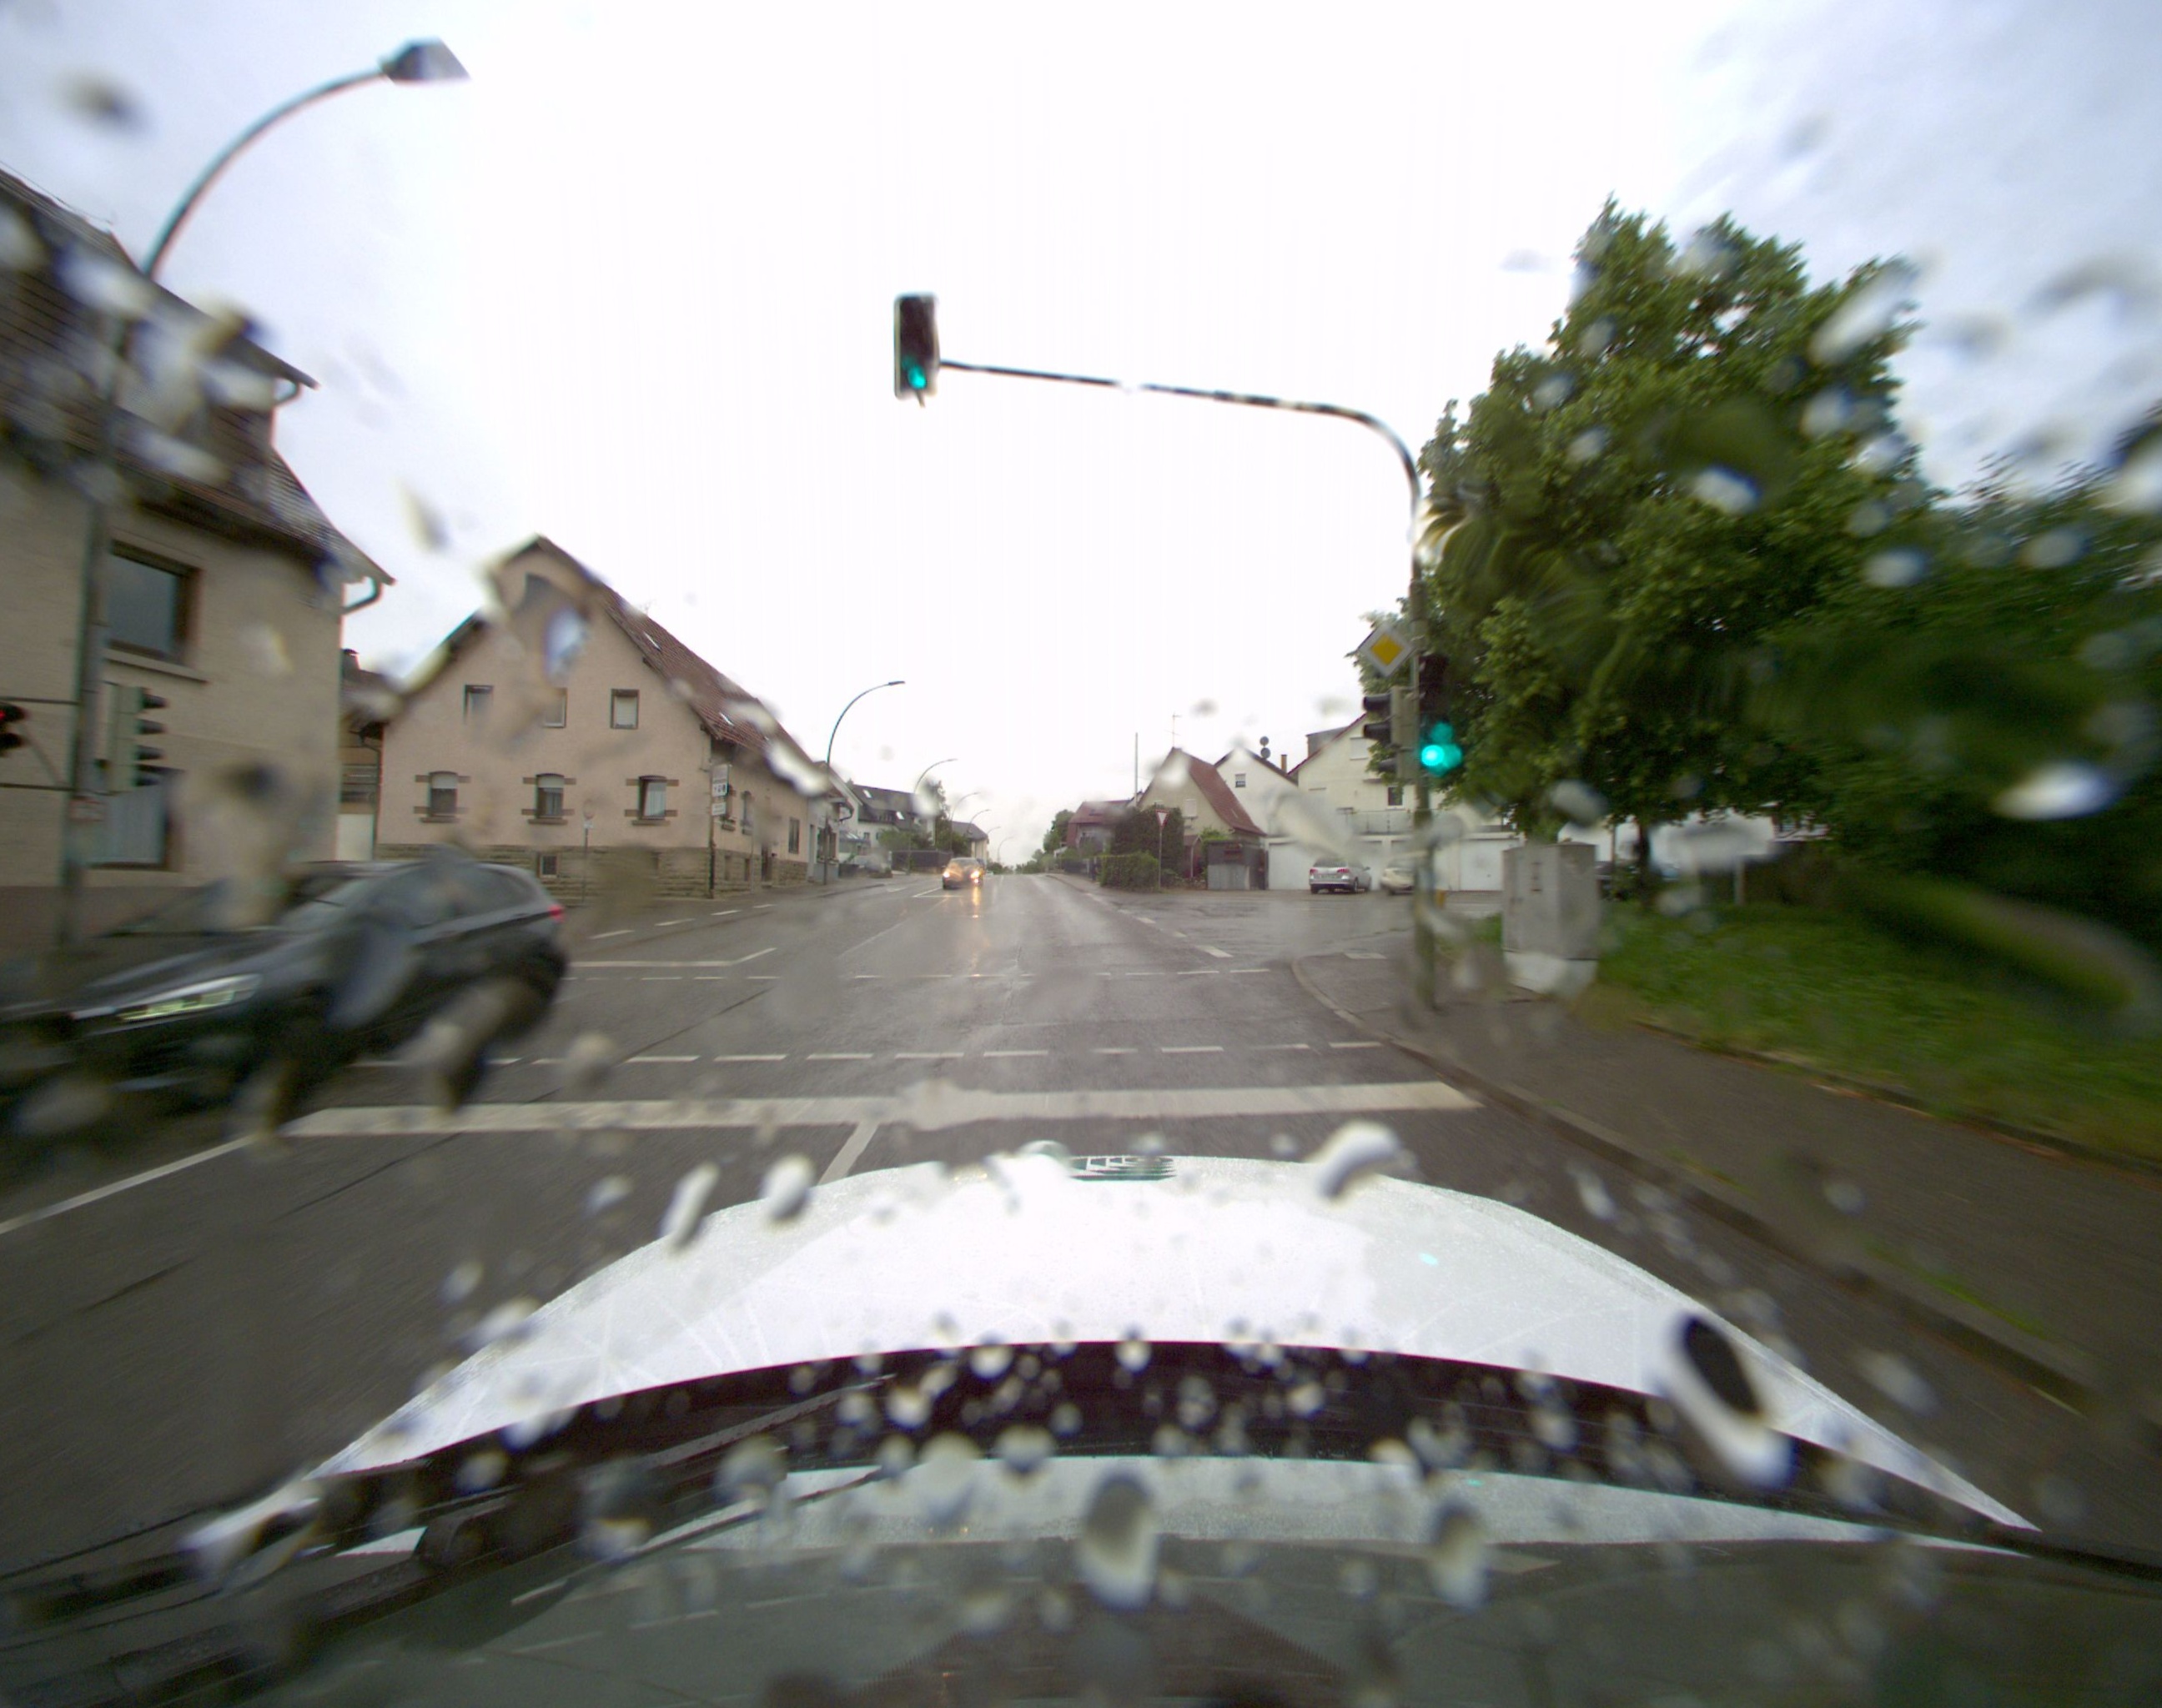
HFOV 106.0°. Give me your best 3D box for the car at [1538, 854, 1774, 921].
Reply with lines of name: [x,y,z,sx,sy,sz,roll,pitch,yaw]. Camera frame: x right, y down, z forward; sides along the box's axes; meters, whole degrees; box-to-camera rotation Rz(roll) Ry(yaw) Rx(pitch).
car: [13.292,0.737,19.093,4.149,1.442,1.838,0,0,10]

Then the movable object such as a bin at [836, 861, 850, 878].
movable object such as a bin: [-15.262,1.004,52.197,0.634,1.032,0.606,-2,-1,8]

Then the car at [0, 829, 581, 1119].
car: [-6.374,0.723,6.835,1.989,1.706,3.996,-1,0,-3]

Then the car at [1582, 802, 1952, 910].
car: [10.284,0.072,12.618,3.955,1.455,1.863,-2,-1,18]

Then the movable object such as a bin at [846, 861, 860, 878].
movable object such as a bin: [-14.562,0.993,52.092,0.634,1.032,0.675,-2,-1,8]

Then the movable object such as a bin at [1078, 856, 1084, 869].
movable object such as a bin: [0.004,0.711,66.197,0.441,1.021,0.525,-1,-1,1]

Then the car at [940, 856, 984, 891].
car: [-5.666,0.876,38.449,1.944,1.574,4.211,-1,0,-10]

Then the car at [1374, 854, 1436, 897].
car: [12.909,0.816,32.325,1.975,1.530,4.024,-2,0,26]

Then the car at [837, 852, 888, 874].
car: [-15.527,0.634,58.119,1.888,1.442,3.842,2,0,13]

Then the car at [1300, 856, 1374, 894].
car: [10.548,0.821,33.303,1.974,1.398,4.176,-2,0,30]
